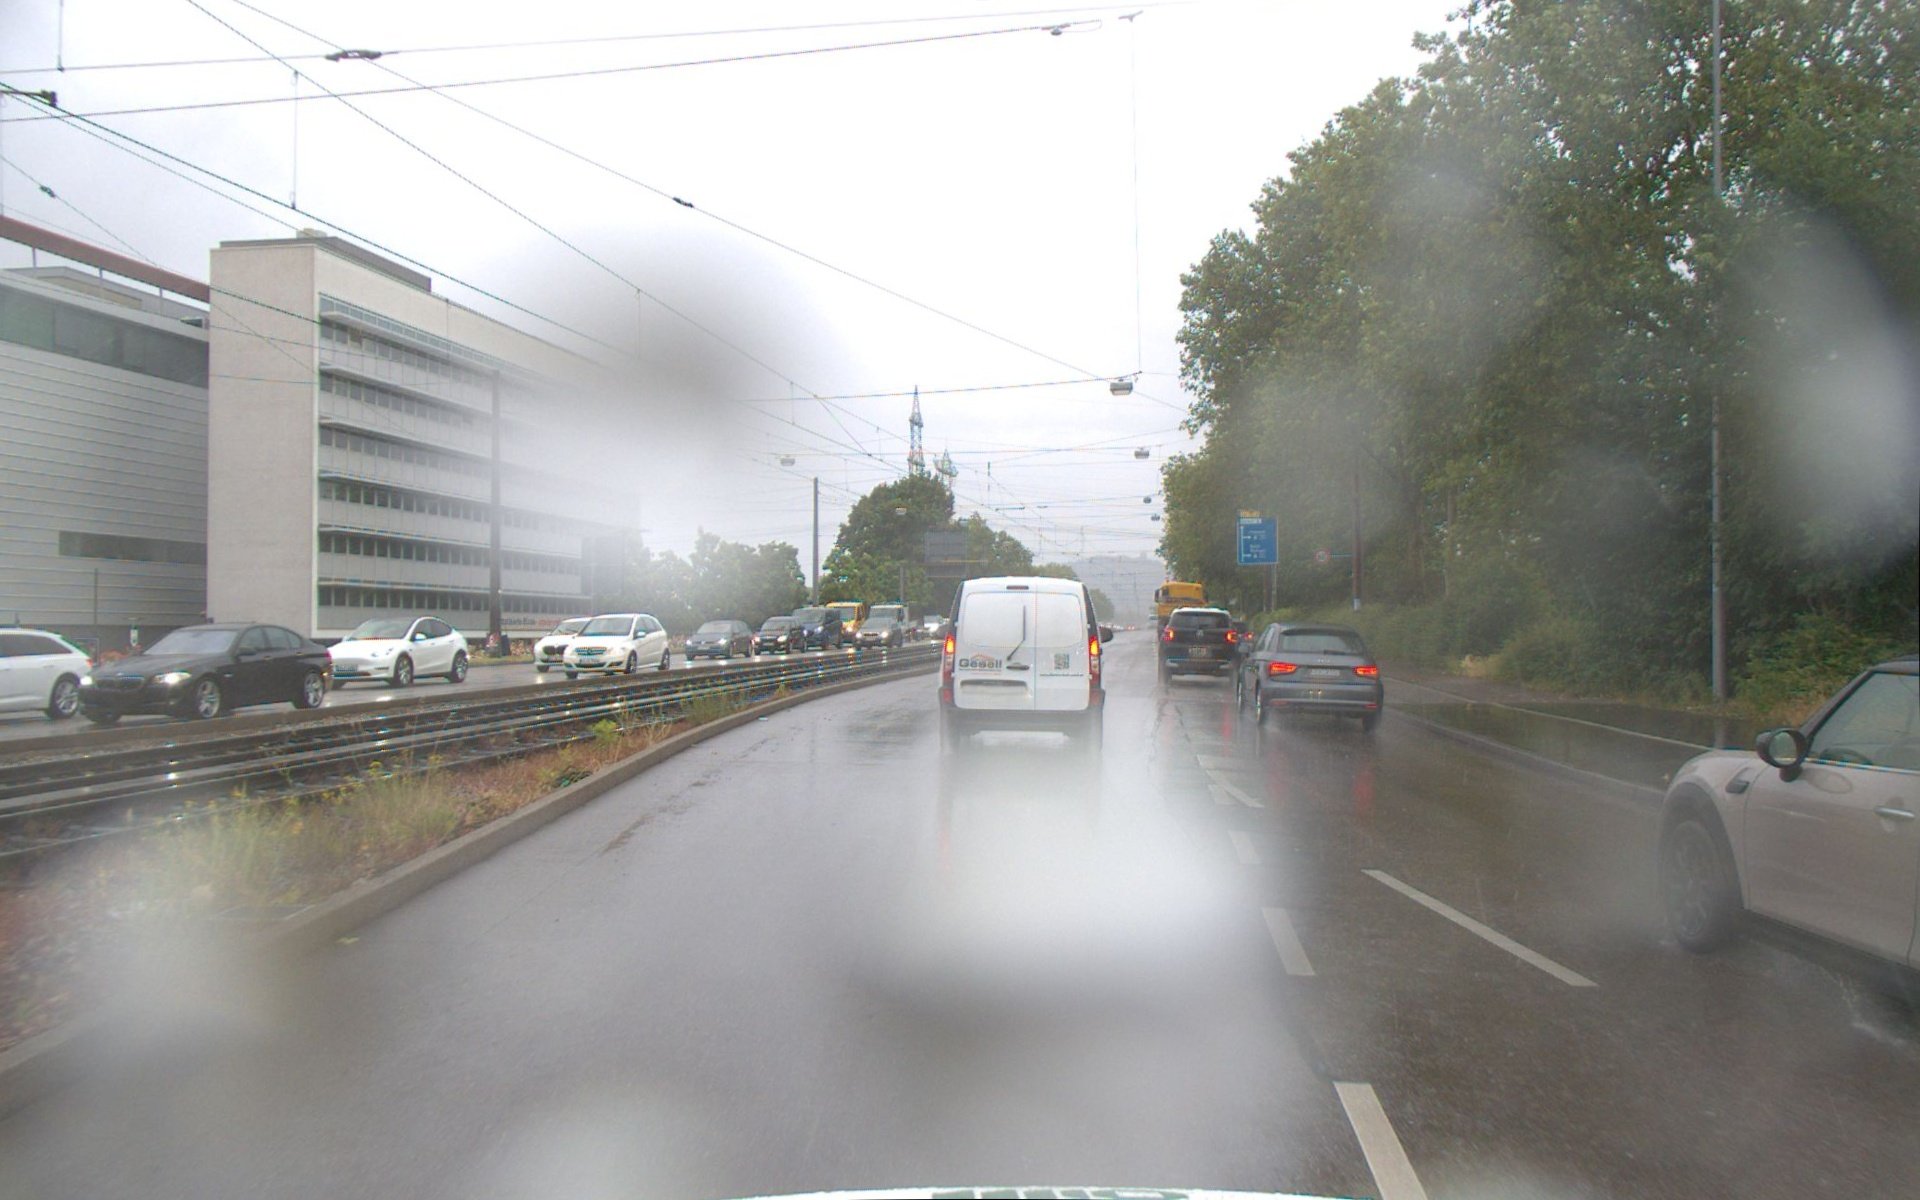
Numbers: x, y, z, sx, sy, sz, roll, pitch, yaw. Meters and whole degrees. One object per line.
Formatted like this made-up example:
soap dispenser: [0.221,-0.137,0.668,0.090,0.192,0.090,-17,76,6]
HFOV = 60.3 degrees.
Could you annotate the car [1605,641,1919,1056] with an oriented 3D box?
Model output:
car: [4.201,0.895,6.411,1.755,1.439,3.851,1,-1,-3]

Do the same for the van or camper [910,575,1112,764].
van or camper: [0.683,0.668,18.388,1.951,1.816,4.003,1,1,5]

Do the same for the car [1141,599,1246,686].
car: [5.033,0.872,36.244,1.860,1.747,4.727,1,0,3]

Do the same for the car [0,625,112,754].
car: [-15.590,1.367,25.543,1.951,1.935,4.794,1,-1,8]

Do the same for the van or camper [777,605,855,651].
van or camper: [-6.838,1.319,79.127,2.255,2.049,5.690,2,-1,10]

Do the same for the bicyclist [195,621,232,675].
bicyclist: [-22.836,1.460,50.627,0.657,1.617,0.792,2,-1,8]

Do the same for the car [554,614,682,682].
car: [-8.962,1.226,43.668,1.833,1.601,4.331,1,1,9]

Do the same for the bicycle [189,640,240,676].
bicycle: [-22.836,1.763,50.684,0.654,1.033,1.557,2,-1,8]

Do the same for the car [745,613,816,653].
car: [-7.877,1.448,72.960,1.818,1.646,4.911,-1,-1,10]

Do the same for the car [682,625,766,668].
car: [-9.119,1.774,64.194,1.921,1.543,4.558,-2,-1,9]

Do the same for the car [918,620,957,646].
car: [-1.516,2.232,112.585,1.733,1.712,4.693,2,-1,10]

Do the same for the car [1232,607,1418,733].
car: [5.025,0.908,23.259,1.926,1.555,3.992,1,0,3]

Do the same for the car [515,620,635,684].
car: [-11.702,1.555,50.577,1.951,1.866,4.696,-1,-1,9]

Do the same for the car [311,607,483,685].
car: [-13.221,1.036,39.207,1.867,1.634,4.846,2,0,7]

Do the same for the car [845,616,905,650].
car: [-3.981,1.583,78.188,1.951,1.482,4.675,-2,-2,8]

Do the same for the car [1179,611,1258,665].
car: [7.517,1.080,48.444,1.780,1.438,3.779,1,0,1]

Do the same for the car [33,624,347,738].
car: [-11.784,1.168,25.783,1.882,1.448,5.088,1,1,9]

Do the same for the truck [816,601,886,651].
truck: [-5.780,1.375,88.391,2.180,2.505,6.071,2,-1,11]

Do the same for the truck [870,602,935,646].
truck: [-3.500,1.488,102.185,2.383,2.501,7.224,2,-1,11]

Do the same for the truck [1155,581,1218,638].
truck: [11.672,0.488,85.315,3.046,2.822,6.334,0,-1,8]
